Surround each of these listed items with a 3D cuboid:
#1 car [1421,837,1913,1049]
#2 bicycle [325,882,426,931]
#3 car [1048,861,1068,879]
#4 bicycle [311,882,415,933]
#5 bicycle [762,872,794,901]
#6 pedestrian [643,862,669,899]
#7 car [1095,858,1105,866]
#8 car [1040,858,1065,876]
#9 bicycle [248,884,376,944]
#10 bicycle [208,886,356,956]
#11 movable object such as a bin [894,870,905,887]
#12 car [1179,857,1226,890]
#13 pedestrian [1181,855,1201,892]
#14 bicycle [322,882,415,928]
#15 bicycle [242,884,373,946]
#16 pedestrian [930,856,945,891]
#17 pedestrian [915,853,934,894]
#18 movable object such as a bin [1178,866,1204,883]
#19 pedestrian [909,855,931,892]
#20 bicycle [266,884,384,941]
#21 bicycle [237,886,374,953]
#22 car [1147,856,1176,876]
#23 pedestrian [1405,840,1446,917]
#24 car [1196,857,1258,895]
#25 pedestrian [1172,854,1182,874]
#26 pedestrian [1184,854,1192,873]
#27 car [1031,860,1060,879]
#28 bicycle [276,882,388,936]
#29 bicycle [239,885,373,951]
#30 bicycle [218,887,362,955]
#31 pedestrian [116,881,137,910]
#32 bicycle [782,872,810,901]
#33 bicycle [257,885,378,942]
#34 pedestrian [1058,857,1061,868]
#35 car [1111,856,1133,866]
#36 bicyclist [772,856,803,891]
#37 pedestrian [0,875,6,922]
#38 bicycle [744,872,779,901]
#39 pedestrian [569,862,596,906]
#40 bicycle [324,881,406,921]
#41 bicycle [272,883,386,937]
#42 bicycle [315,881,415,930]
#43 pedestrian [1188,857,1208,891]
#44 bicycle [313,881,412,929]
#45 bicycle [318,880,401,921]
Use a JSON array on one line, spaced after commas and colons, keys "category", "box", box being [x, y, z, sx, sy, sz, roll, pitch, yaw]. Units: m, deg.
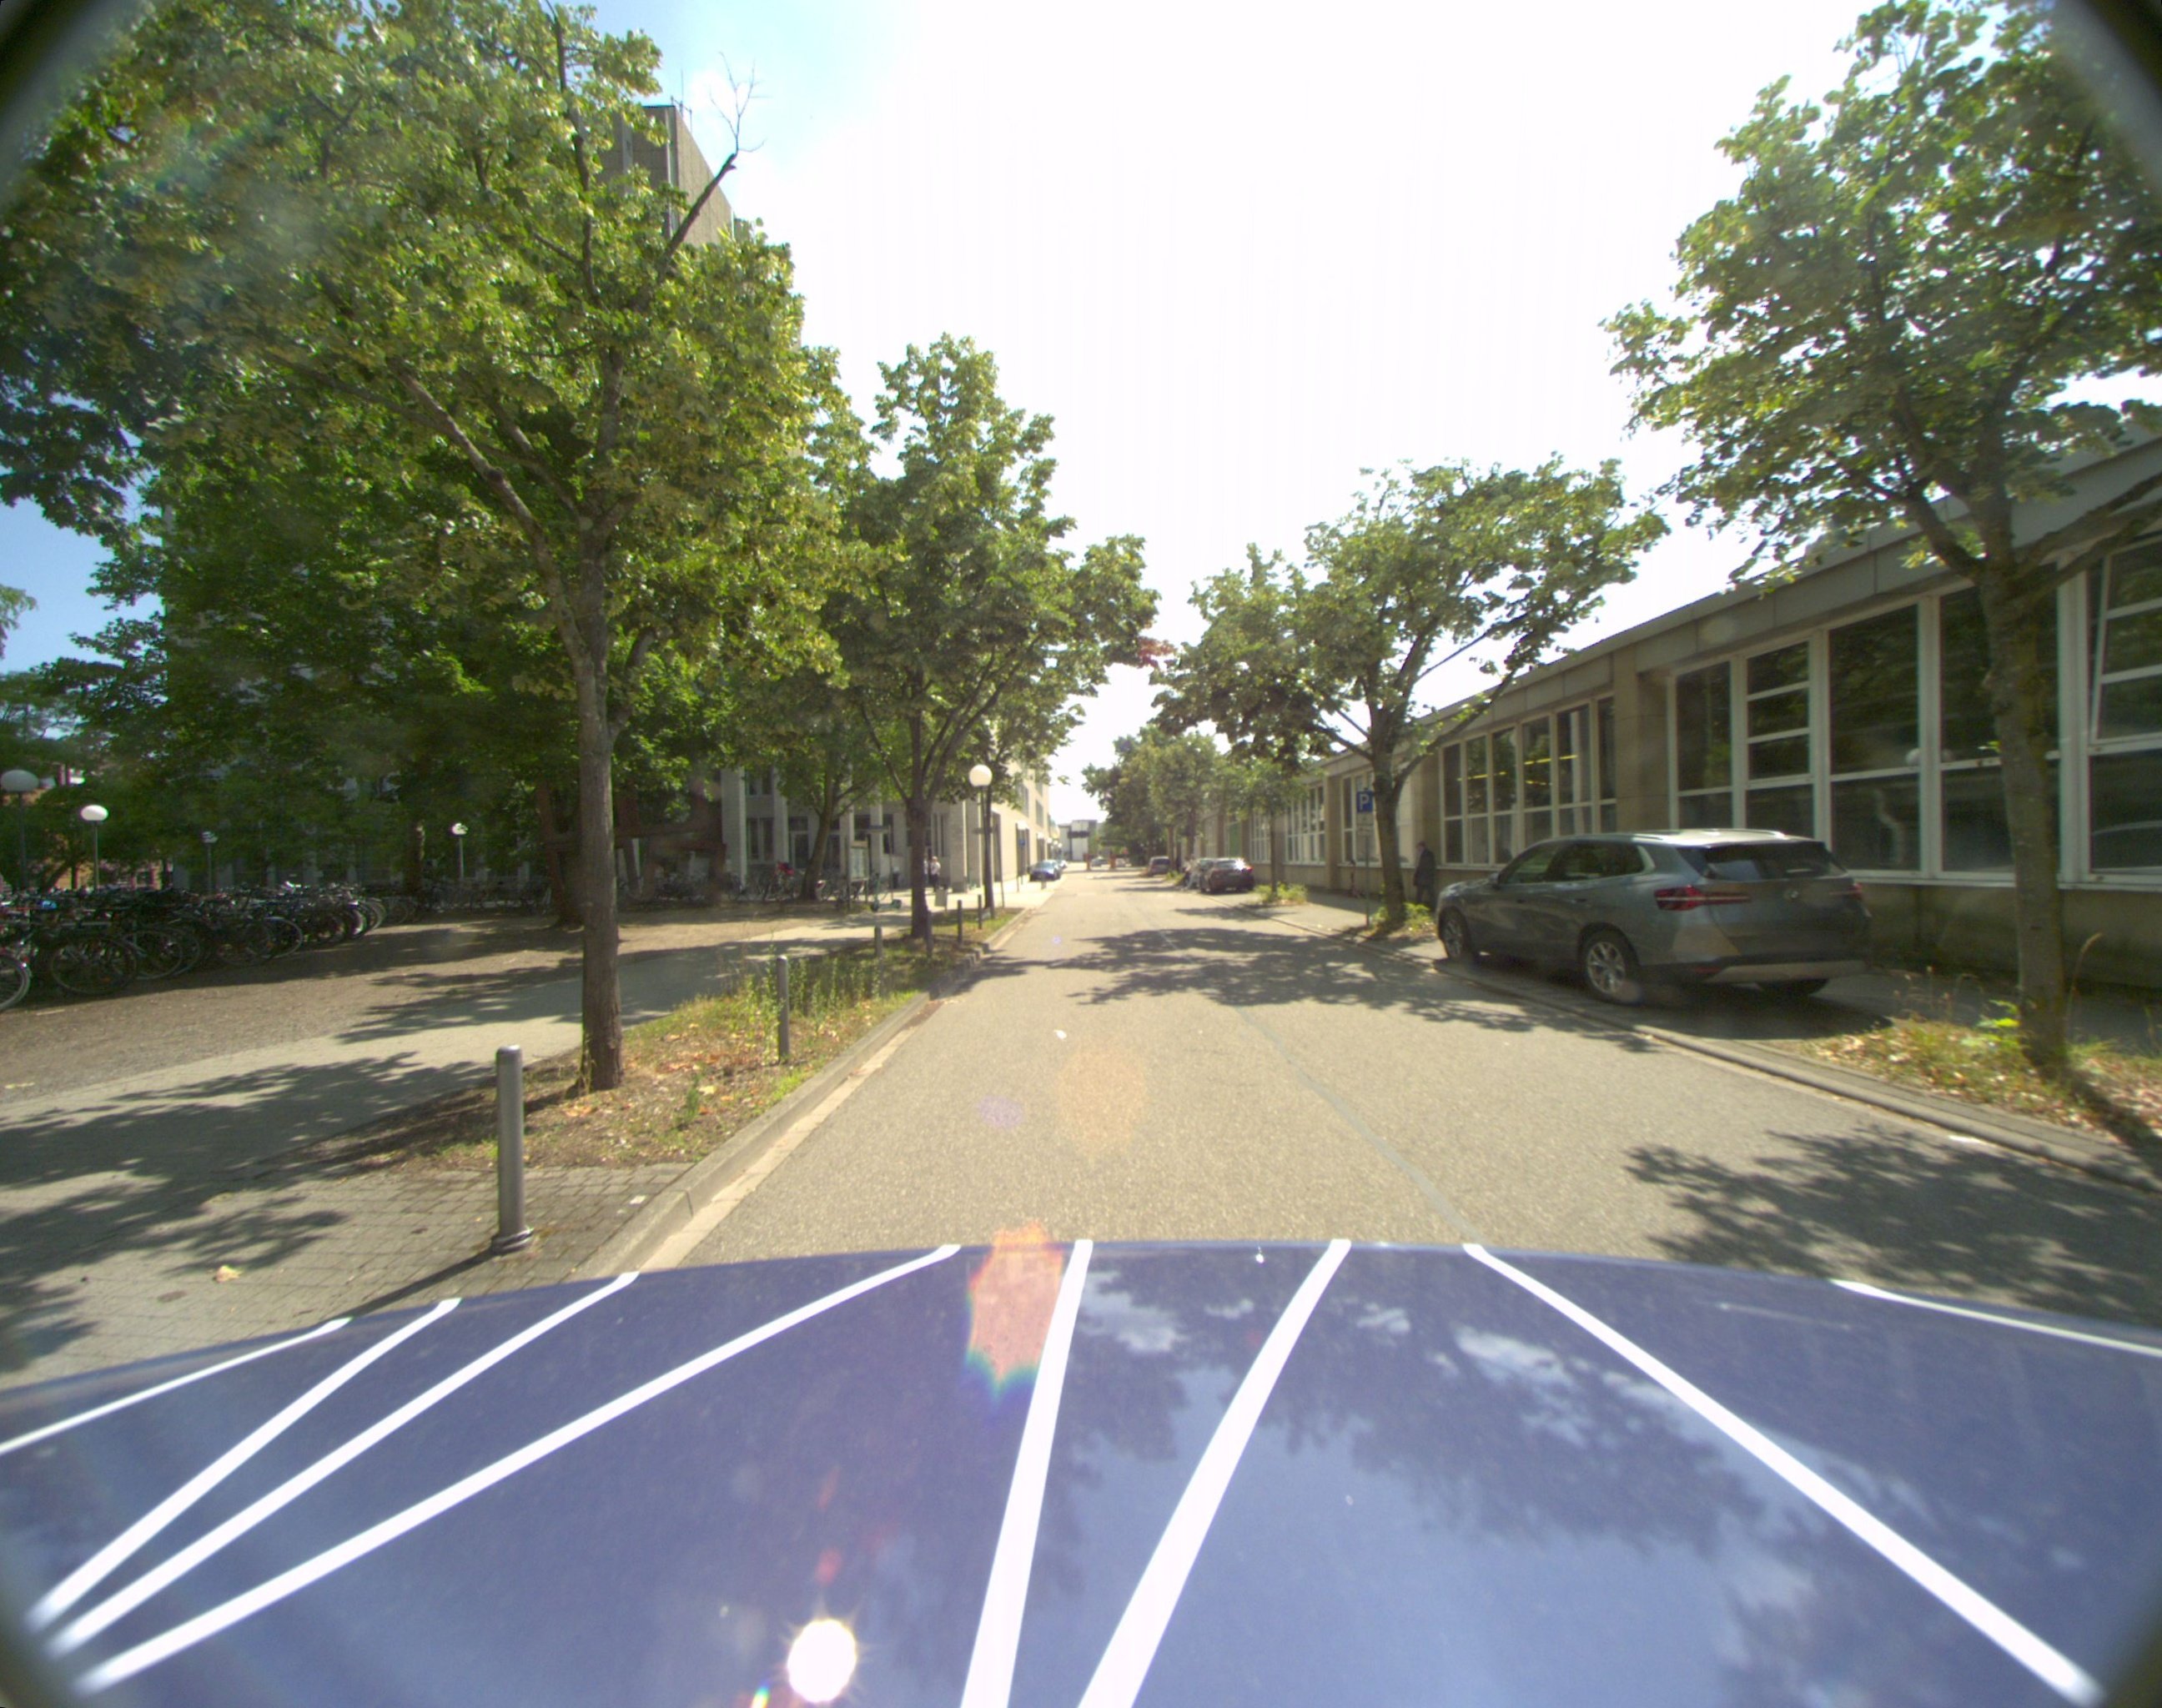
[{"category": "car", "box": [5.807, 0.722, 8.454, 1.826, 1.623, 4.516, -3, 0, -2]}, {"category": "bicycle", "box": [-18.013, 1.317, 19.454, 1.848, 1.163, 0.387, -1, 0, -36]}, {"category": "car", "box": [-2.246, 1.591, 75.626, 1.798, 1.691, 4.001, 2, -1, 1]}, {"category": "bicycle", "box": [-17.932, 1.313, 19.038, 1.848, 1.163, 0.352, -1, 0, -36]}, {"category": "bicycle", "box": [-11.730, 1.248, 29.416, 0.481, 1.079, 1.516, 0, -2, 6]}, {"category": "pedestrian", "box": [-20.781, 1.295, 37.174, 0.938, 1.730, 0.748, -2, 1, -18]}, {"category": "car", "box": [3.656, 1.655, 150.228, 1.803, 1.440, 3.676, -4, 0, 0]}, {"category": "car", "box": [-2.261, 1.069, 60.997, 1.843, 1.389, 3.878, 0, -1, 1]}, {"category": "bicycle", "box": [-16.174, 1.237, 16.033, 1.848, 1.163, 0.344, -1, 0, -36]}, {"category": "bicycle", "box": [-14.741, 1.217, 14.081, 1.848, 1.163, 0.344, -1, 0, -33]}, {"category": "movable object such as a bin", "box": [-10.570, 1.438, 44.289, 0.513, 0.944, 0.512, 2, 0, -1]}, {"category": "car", "box": [5.973, 0.916, 37.730, 1.634, 1.440, 3.752, -4, 0, 0]}, {"category": "pedestrian", "box": [5.138, 0.901, 35.417, 0.797, 1.718, 0.601, -1, 0, 0]}, {"category": "bicycle", "box": [-19.798, 1.399, 21.169, 1.849, 1.163, 0.412, -1, 0, -38]}, {"category": "bicycle", "box": [-15.972, 1.243, 15.752, 1.849, 1.163, 0.344, -1, 0, -36]}, {"category": "pedestrian", "box": [-7.065, 0.954, 37.390, 0.613, 1.719, 0.542, -1, 1, 2]}, {"category": "pedestrian", "box": [-7.457, 0.923, 36.179, 0.687, 1.880, 0.686, -2, 2, -2]}, {"category": "movable object such as a bin", "box": [6.707, 1.243, 46.384, 1.295, 0.979, 1.696, -3, -1, 1]}, {"category": "pedestrian", "box": [-7.868, 0.946, 37.227, 0.811, 1.786, 0.618, -2, 1, -43]}, {"category": "bicycle", "box": [-17.036, 1.292, 17.180, 1.848, 1.163, 0.352, -1, 0, -36]}, {"category": "bicycle", "box": [-15.124, 1.243, 14.870, 0.344, 1.163, 1.849, -1, 0, 43]}, {"category": "car", "box": [6.280, 0.911, 59.913, 1.803, 1.440, 3.676, -4, 0, 0]}, {"category": "pedestrian", "box": [8.275, 0.582, 18.233, 0.668, 1.776, 0.792, -3, -1, 35]}, {"category": "car", "box": [6.082, 0.904, 32.061, 1.729, 1.426, 4.290, -3, -1, 0]}, {"category": "pedestrian", "box": [7.862, 0.809, 62.164, 0.604, 1.571, 0.552, 0, 0, 31]}, {"category": "pedestrian", "box": [8.736, 0.771, 62.113, 0.605, 1.571, 0.551, 1, 0, -2]}, {"category": "car", "box": [-2.570, 1.130, 55.332, 1.843, 1.389, 3.878, 0, -1, 1]}, {"category": "bicycle", "box": [-17.764, 1.283, 18.071, 1.848, 1.163, 0.352, -1, 0, -36]}, {"category": "bicycle", "box": [-15.386, 1.240, 15.136, 0.344, 1.163, 1.849, -1, 0, 43]}, {"category": "bicycle", "box": [-14.919, 1.241, 14.387, 1.848, 1.163, 0.344, -1, 0, -33]}, {"category": "pedestrian", "box": [-39.663, 1.725, 31.567, 0.402, 1.205, 0.387, -1, 0, 9]}, {"category": "bicycle", "box": [-10.971, 1.239, 29.284, 0.460, 1.079, 1.474, 0, -1, 2]}, {"category": "bicycle", "box": [-16.865, 1.292, 16.843, 1.848, 1.163, 0.352, -1, 0, -36]}, {"category": "pedestrian", "box": [-3.084, 1.249, 110.732, 0.383, 1.620, 0.519, 2, 0, 2]}, {"category": "car", "box": [6.985, 1.111, 129.800, 3.674, 1.440, 1.804, -4, 0, -1]}, {"category": "bicyclist", "box": [-12.927, 0.866, 33.451, 0.958, 1.533, 0.839, 0, -2, 6]}, {"category": "pedestrian", "box": [-36.759, 1.495, 25.460, 0.719, 1.560, 0.746, -1, -1, 42]}, {"category": "bicycle", "box": [-12.227, 1.231, 29.136, 0.481, 1.079, 1.698, 0, -2, 6]}, {"category": "pedestrian", "box": [-19.405, 1.155, 29.593, 0.428, 1.693, 0.944, -3, 0, -4]}, {"category": "bicycle", "box": [-22.515, 1.447, 23.936, 1.849, 1.163, 0.345, -1, 0, -44]}, {"category": "bicycle", "box": [-17.553, 1.284, 17.783, 1.848, 1.163, 0.352, -1, 0, -36]}, {"category": "bicycle", "box": [-18.484, 1.309, 19.671, 1.849, 1.163, 0.387, -1, 0, -38]}, {"category": "pedestrian", "box": [5.346, 0.894, 34.723, 0.797, 1.533, 0.664, -1, 0, 0]}, {"category": "bicycle", "box": [-18.953, 1.329, 20.084, 1.849, 1.163, 0.412, -1, 0, -38]}, {"category": "bicycle", "box": [-22.373, 1.431, 23.590, 1.849, 1.163, 0.345, -1, 0, -44]}]
